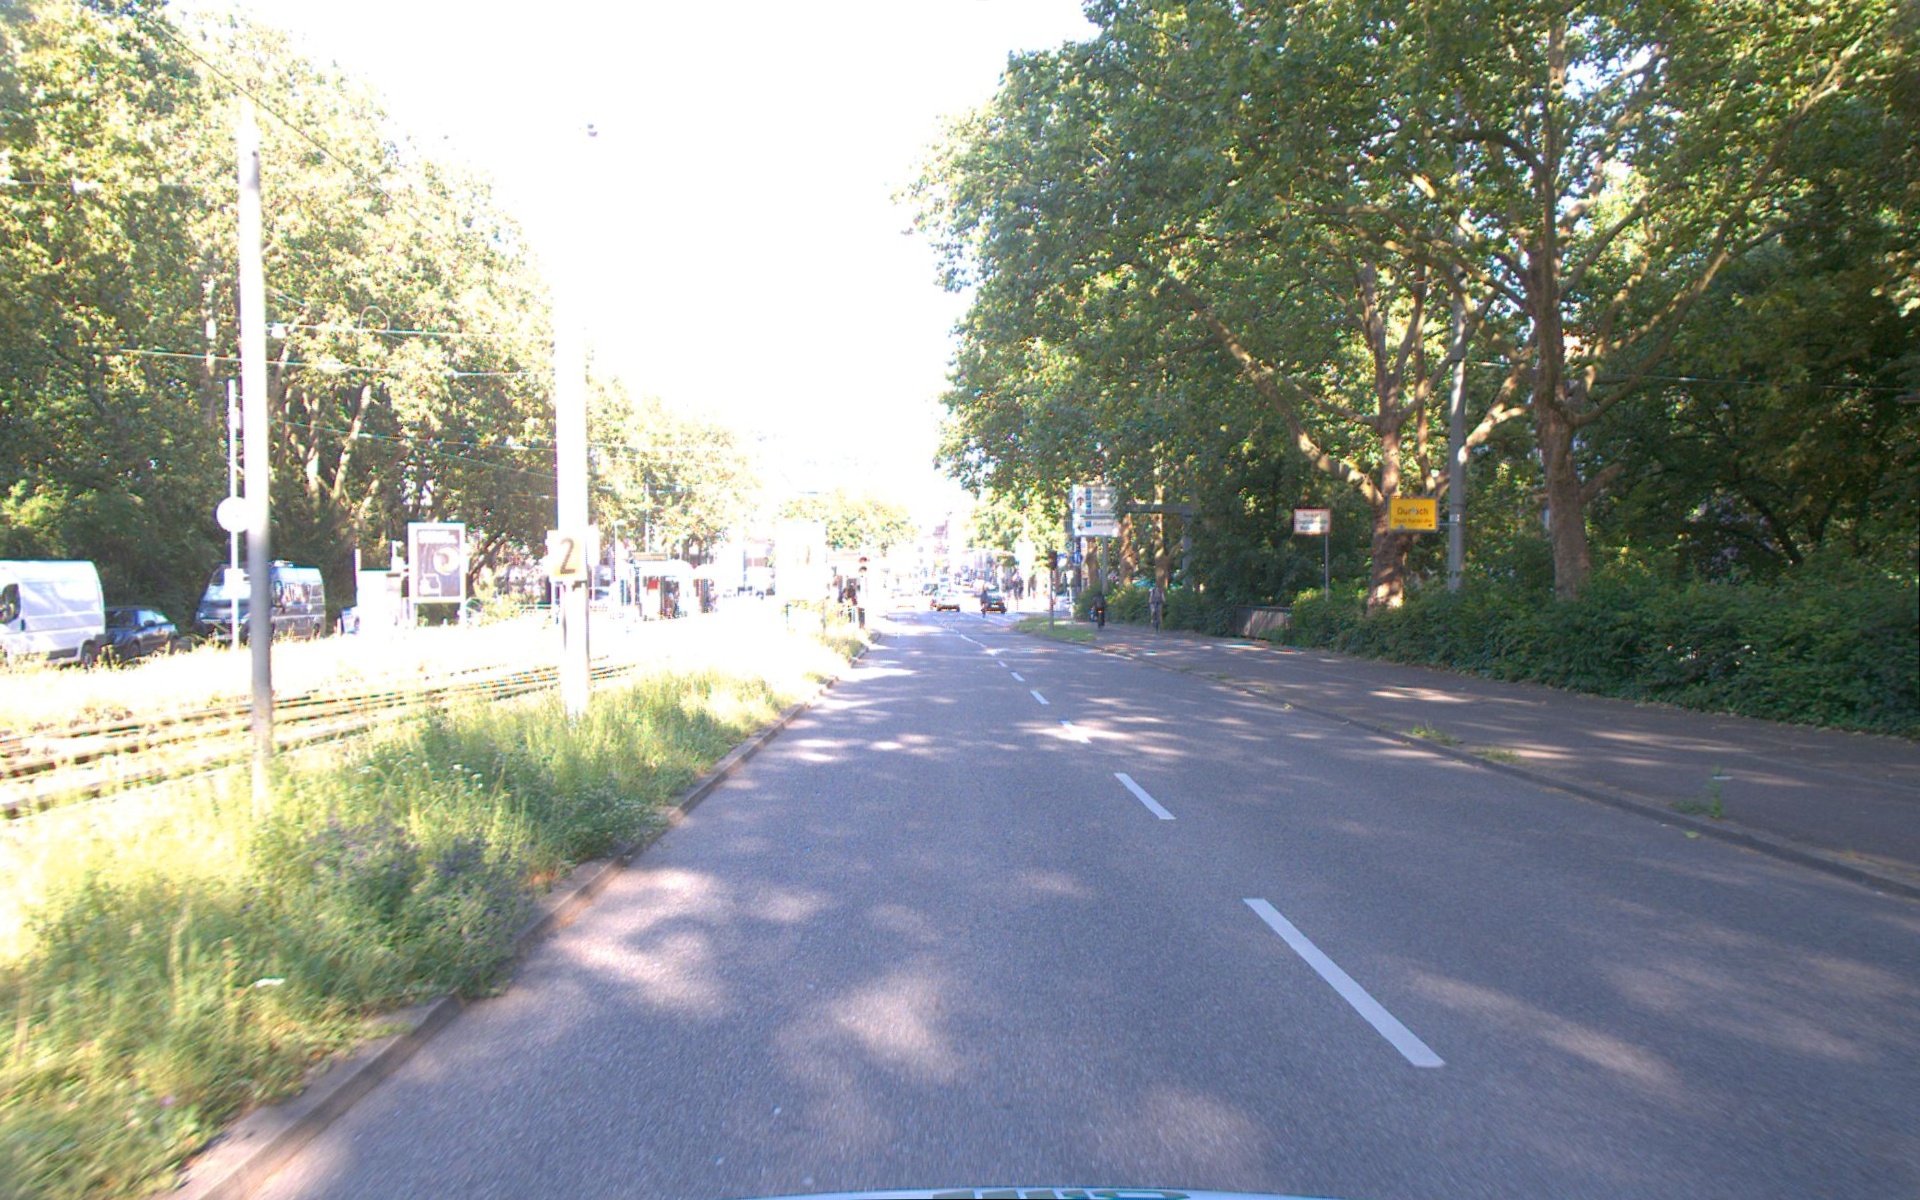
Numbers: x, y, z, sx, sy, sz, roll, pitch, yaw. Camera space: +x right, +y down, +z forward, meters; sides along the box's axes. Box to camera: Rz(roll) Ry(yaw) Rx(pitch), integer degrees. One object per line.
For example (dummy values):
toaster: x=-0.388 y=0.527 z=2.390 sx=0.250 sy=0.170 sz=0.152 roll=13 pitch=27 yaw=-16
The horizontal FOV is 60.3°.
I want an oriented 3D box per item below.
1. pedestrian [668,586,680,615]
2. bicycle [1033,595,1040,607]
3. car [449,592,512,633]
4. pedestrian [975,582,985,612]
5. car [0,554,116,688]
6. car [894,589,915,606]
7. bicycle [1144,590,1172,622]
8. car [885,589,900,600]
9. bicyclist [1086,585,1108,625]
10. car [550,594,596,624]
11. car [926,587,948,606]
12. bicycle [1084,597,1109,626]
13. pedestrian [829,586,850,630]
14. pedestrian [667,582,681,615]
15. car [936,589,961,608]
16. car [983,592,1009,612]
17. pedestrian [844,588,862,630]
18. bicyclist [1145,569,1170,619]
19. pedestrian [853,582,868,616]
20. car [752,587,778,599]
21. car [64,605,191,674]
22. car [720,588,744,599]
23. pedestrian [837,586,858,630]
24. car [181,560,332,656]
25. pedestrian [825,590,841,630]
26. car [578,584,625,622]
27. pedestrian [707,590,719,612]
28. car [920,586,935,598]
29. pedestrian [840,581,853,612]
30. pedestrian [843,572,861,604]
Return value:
pedestrian: x=-15.734 y=0.041 z=90.990 sx=0.581 sy=1.571 sz=0.626 roll=1 pitch=-1 yaw=-2
bicycle: x=6.767 y=0.089 z=146.555 sx=0.488 sy=1.093 sz=1.799 roll=1 pitch=0 yaw=-3
car: x=-20.838 y=0.543 z=72.068 sx=1.866 sy=1.680 sz=3.968 roll=-2 pitch=0 yaw=-5
pedestrian: x=1.298 y=-0.198 z=107.133 sx=0.644 sy=1.903 sz=0.677 roll=0 pitch=0 yaw=-3
car: x=-19.657 y=0.451 z=33.679 sx=2.141 sy=2.564 sz=6.264 roll=-2 pitch=0 yaw=-6
car: x=-4.890 y=-0.227 z=144.741 sx=1.772 sy=1.478 sz=3.998 roll=0 pitch=0 yaw=-3
bicycle: x=7.137 y=0.217 z=59.721 sx=0.685 sy=1.127 sz=1.928 roll=-1 pitch=0 yaw=-4
car: x=-9.670 y=-0.816 z=237.396 sx=1.756 sy=1.537 sz=4.002 roll=-1 pitch=0 yaw=4
bicyclist: x=5.381 y=0.199 z=64.999 sx=0.751 sy=1.539 sz=0.650 roll=0 pitch=0 yaw=-3
car: x=-21.554 y=0.488 z=92.211 sx=1.759 sy=1.536 sz=4.338 roll=-2 pitch=0 yaw=-4
car: x=-2.039 y=-0.303 z=143.116 sx=1.764 sy=1.666 sz=4.043 roll=0 pitch=0 yaw=-3
bicycle: x=5.378 y=0.437 z=65.051 sx=0.751 sy=1.127 sz=1.799 roll=0 pitch=0 yaw=-3
pedestrian: x=-4.446 y=0.286 z=61.129 sx=0.510 sy=1.595 sz=0.507 roll=-3 pitch=0 yaw=27
pedestrian: x=-15.866 y=-0.073 z=91.667 sx=0.635 sy=1.803 sz=0.650 roll=1 pitch=-1 yaw=0
car: x=-0.979 y=-0.156 z=135.749 sx=1.890 sy=1.498 sz=4.852 roll=0 pitch=1 yaw=-3
car: x=2.816 y=0.148 z=130.966 sx=1.764 sy=1.464 sz=4.043 roll=1 pitch=0 yaw=-3
pedestrian: x=-4.027 y=0.324 z=62.134 sx=0.578 sy=1.546 sz=0.514 roll=-3 pitch=0 yaw=-2
bicyclist: x=7.136 y=-0.218 z=59.722 sx=0.685 sy=1.758 sz=1.079 roll=-1 pitch=0 yaw=-4
pedestrian: x=-5.108 y=-0.064 z=85.098 sx=0.727 sy=1.724 sz=0.791 roll=1 pitch=0 yaw=-2
car: x=-26.174 y=-0.937 z=221.821 sx=1.881 sy=1.677 sz=4.182 roll=0 pitch=1 yaw=18
car: x=-20.132 y=0.926 z=40.137 sx=1.620 sy=1.539 sz=3.262 roll=-2 pitch=0 yaw=-5
car: x=-30.903 y=-0.870 z=224.291 sx=1.756 sy=1.536 sz=4.013 roll=0 pitch=1 yaw=16
pedestrian: x=-4.187 y=0.291 z=61.547 sx=0.510 sy=1.595 sz=0.507 roll=-3 pitch=0 yaw=27
car: x=-20.516 y=0.219 z=48.558 sx=2.140 sy=2.564 sz=6.027 roll=-2 pitch=0 yaw=-4
pedestrian: x=-4.826 y=0.372 z=62.927 sx=0.509 sy=1.498 sz=0.514 roll=-3 pitch=0 yaw=-2
car: x=-21.858 y=0.205 z=101.025 sx=2.026 sy=2.161 sz=5.086 roll=-2 pitch=0 yaw=-4
pedestrian: x=-16.058 y=0.054 z=107.510 sx=0.656 sy=1.347 sz=0.756 roll=-3 pitch=0 yaw=-4
car: x=-4.975 y=-1.210 z=253.113 sx=1.756 sy=1.858 sz=4.003 roll=0 pitch=0 yaw=8
pedestrian: x=-5.825 y=-0.165 z=84.950 sx=0.576 sy=1.594 sz=0.650 roll=1 pitch=0 yaw=-2
pedestrian: x=-5.856 y=-0.653 z=89.657 sx=0.647 sy=1.752 sz=0.701 roll=1 pitch=0 yaw=-38
